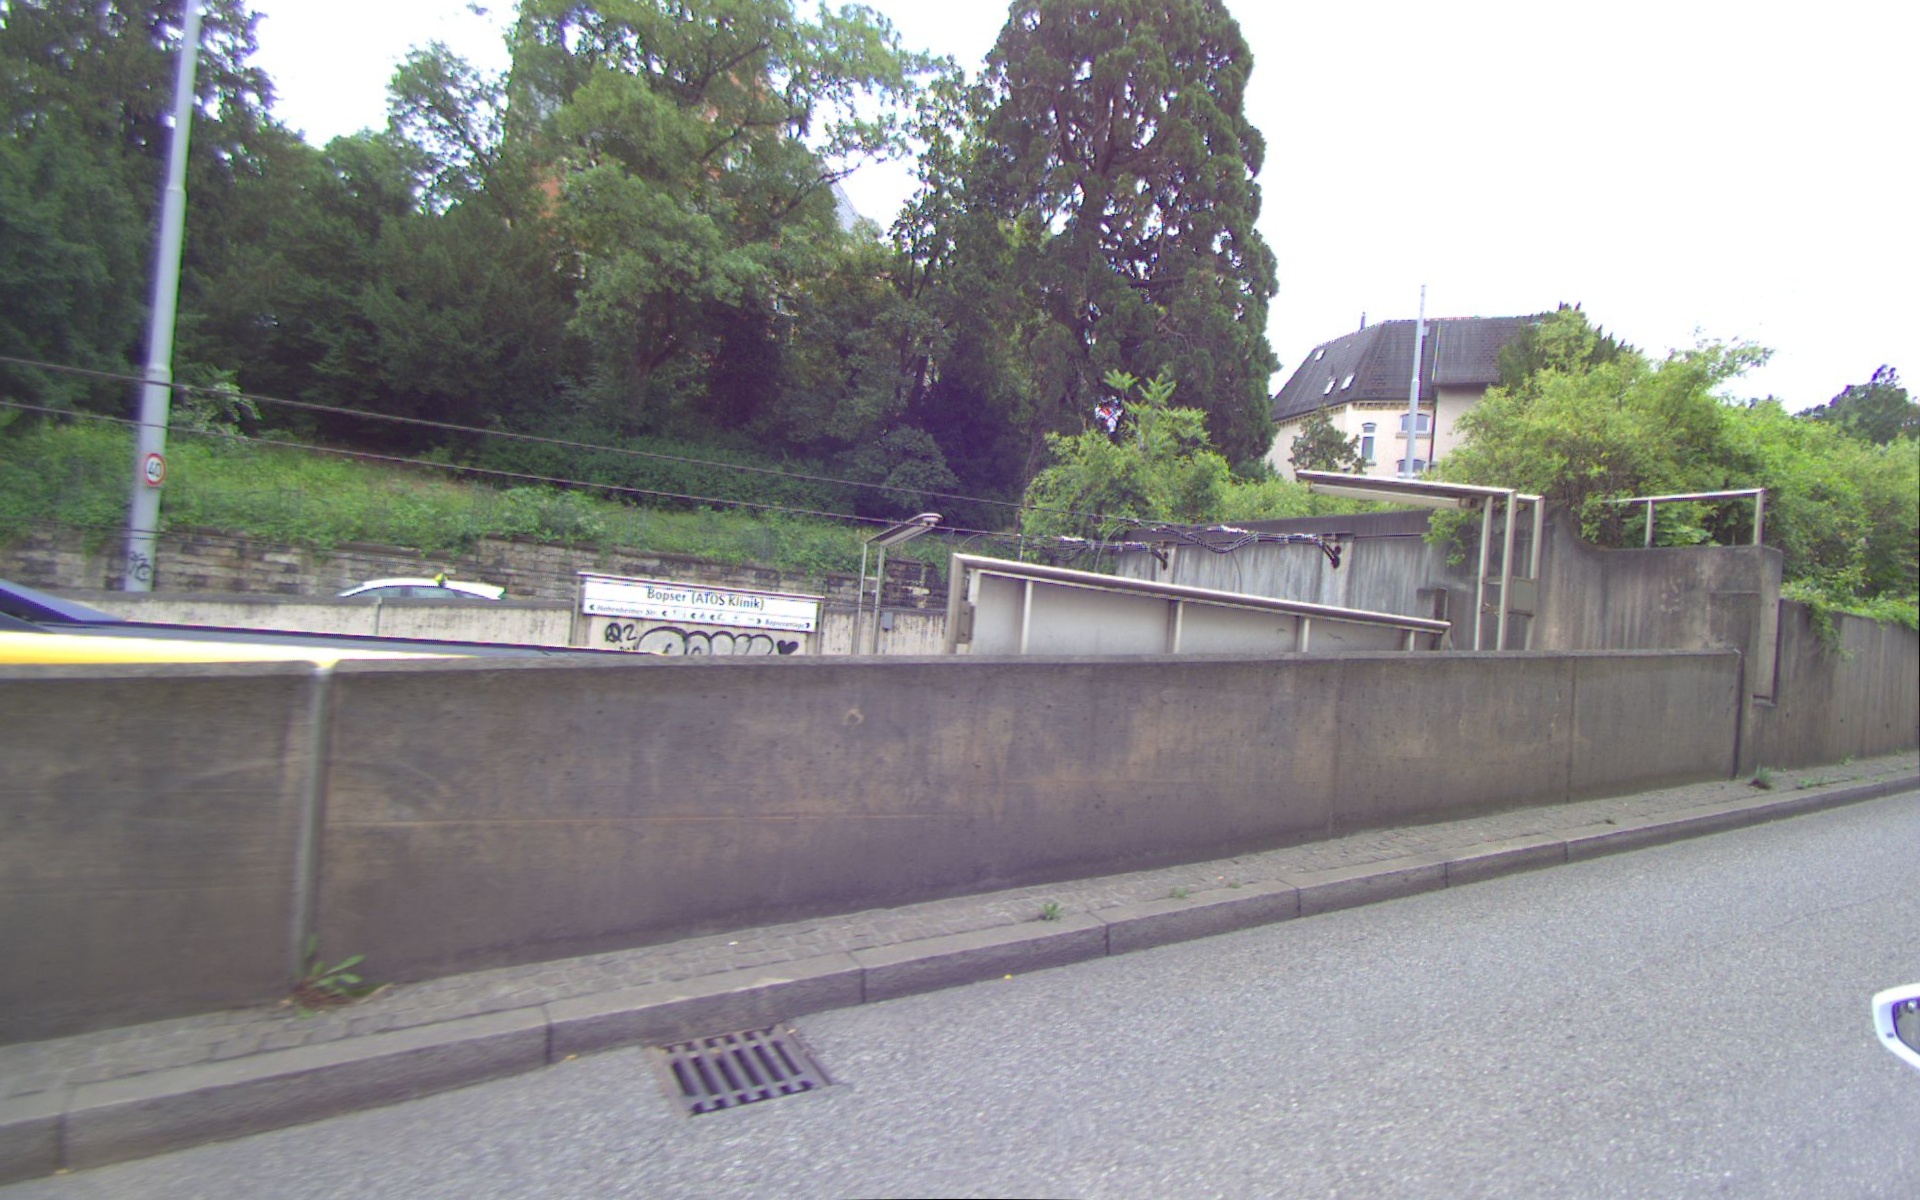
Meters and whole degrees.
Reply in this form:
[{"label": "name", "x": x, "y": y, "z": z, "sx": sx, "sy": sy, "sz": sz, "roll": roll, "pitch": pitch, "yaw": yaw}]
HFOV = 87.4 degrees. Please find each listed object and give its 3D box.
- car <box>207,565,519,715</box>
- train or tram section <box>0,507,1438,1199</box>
[{"label": "car", "x": -9.297, "y": 0.607, "z": 15.902, "sx": 3.956, "sy": 2.040, "sz": 1.982, "roll": 3, "pitch": 2, "yaw": -32}, {"label": "train or tram section", "x": -1.054, "y": 1.572, "z": 8.965, "sx": 12.839, "sy": 3.555, "sz": 2.934, "roll": 3, "pitch": -1, "yaw": -31}]
